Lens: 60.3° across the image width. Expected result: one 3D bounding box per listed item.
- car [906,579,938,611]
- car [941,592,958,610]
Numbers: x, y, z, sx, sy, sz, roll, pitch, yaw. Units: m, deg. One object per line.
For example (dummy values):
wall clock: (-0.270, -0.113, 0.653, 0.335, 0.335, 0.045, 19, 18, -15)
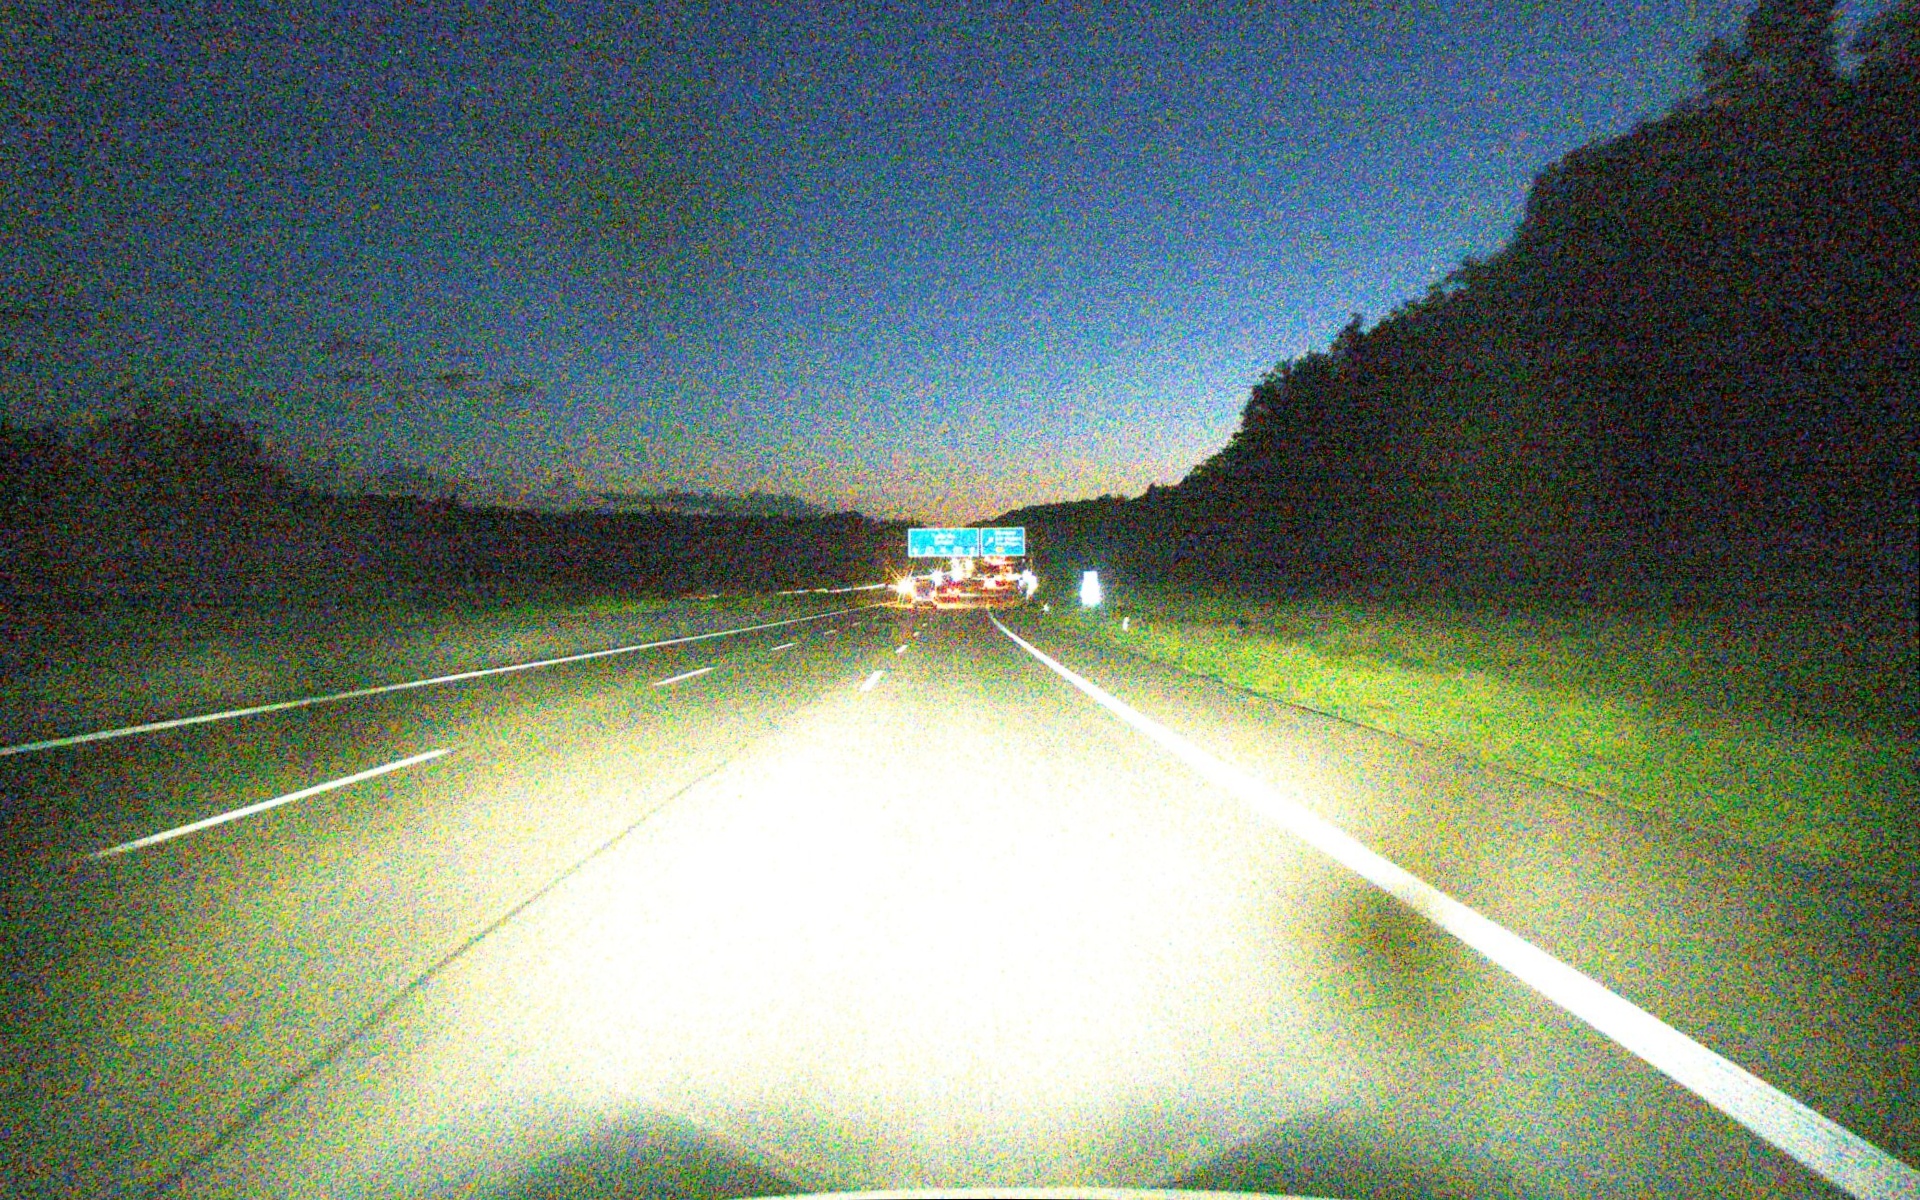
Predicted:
car: (-3.302, -0.434, 145.978, 2.730, 2.781, 6.298, 0, 0, -1)
car: (-1.682, 0.190, 261.327, 2.730, 2.781, 6.297, 0, 0, -1)
